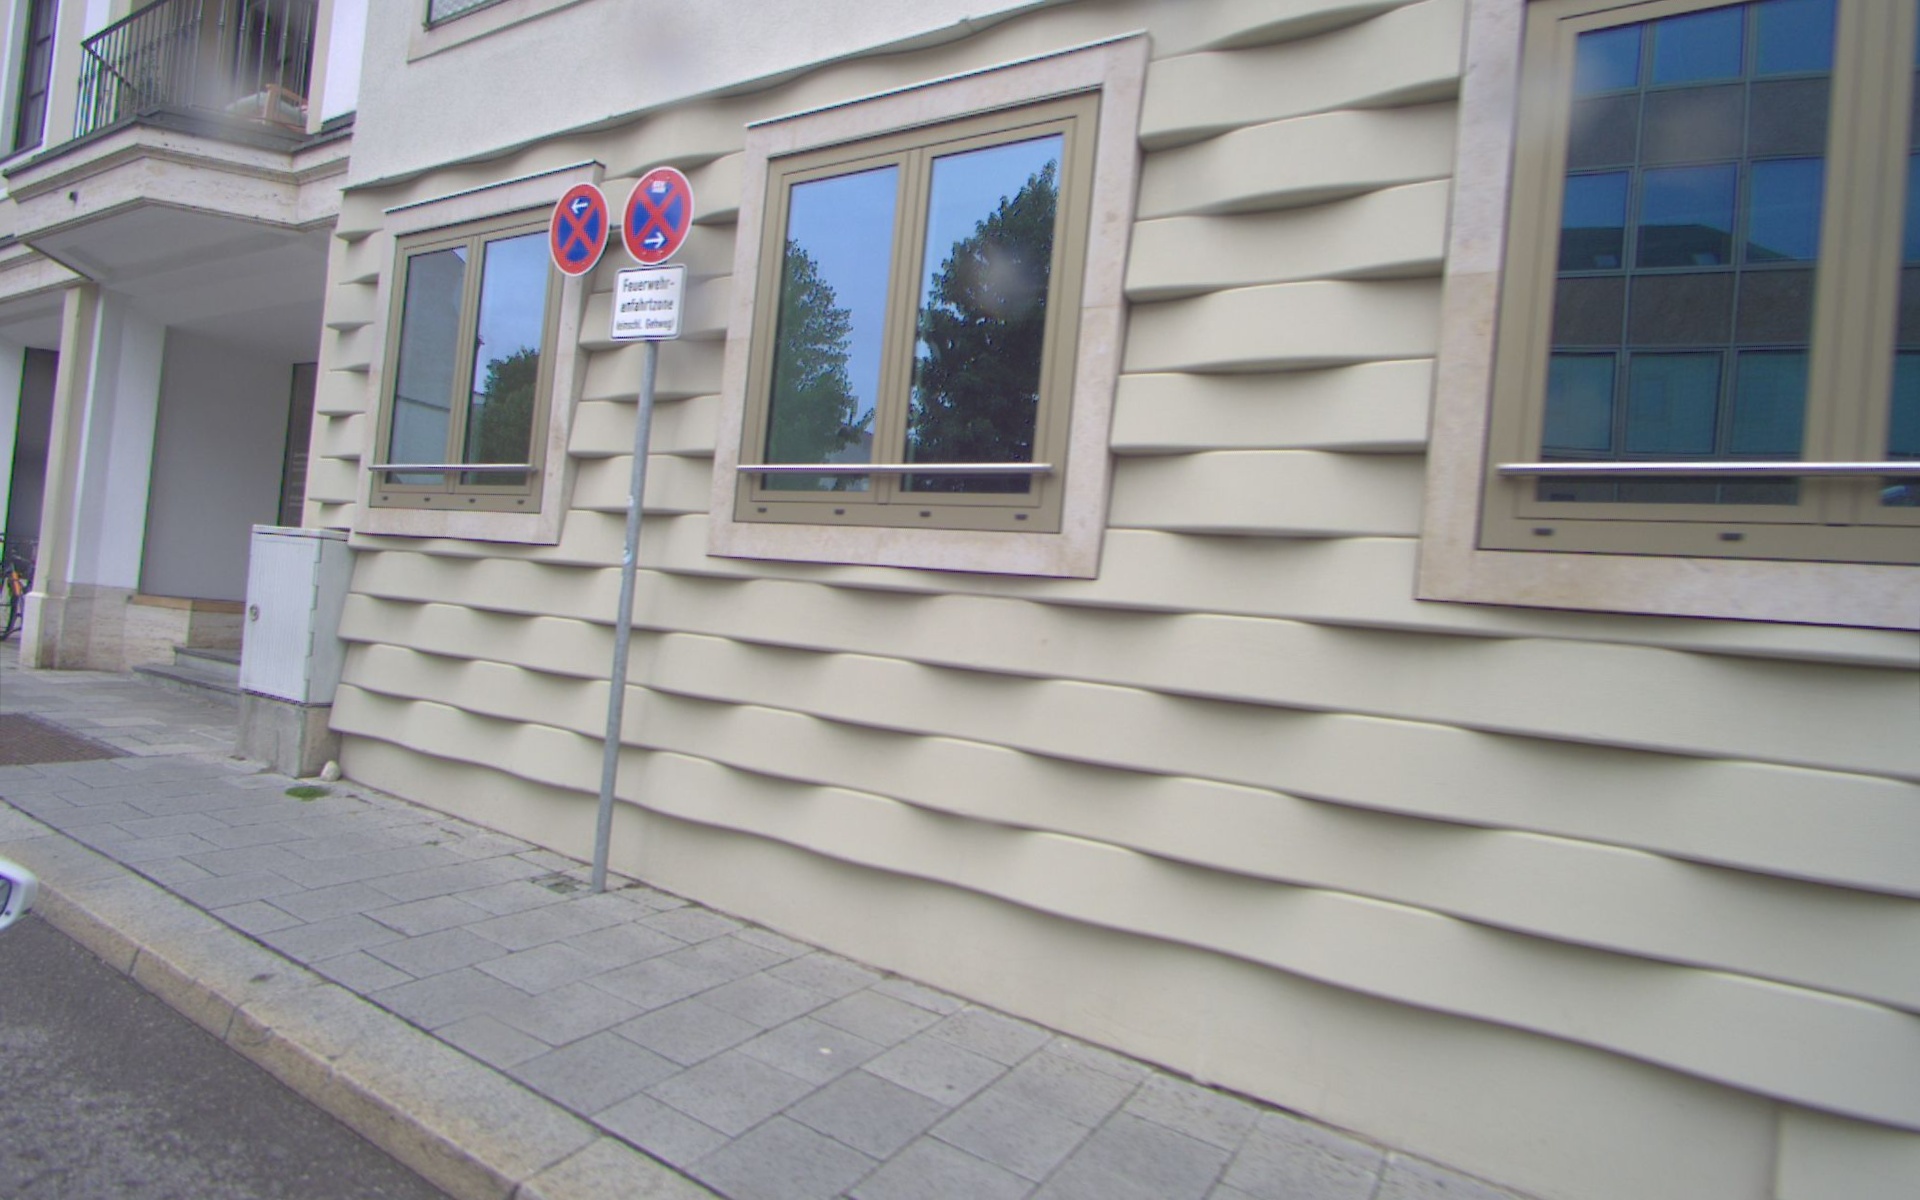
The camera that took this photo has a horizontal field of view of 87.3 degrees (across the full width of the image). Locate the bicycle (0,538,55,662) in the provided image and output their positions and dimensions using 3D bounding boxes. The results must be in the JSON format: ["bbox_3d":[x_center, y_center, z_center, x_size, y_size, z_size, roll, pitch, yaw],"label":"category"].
[{"bbox_3d":[-9.048,-0.049,9.497,2.049,1.006,0.463,7,1,42],"label":"bicycle"}]
